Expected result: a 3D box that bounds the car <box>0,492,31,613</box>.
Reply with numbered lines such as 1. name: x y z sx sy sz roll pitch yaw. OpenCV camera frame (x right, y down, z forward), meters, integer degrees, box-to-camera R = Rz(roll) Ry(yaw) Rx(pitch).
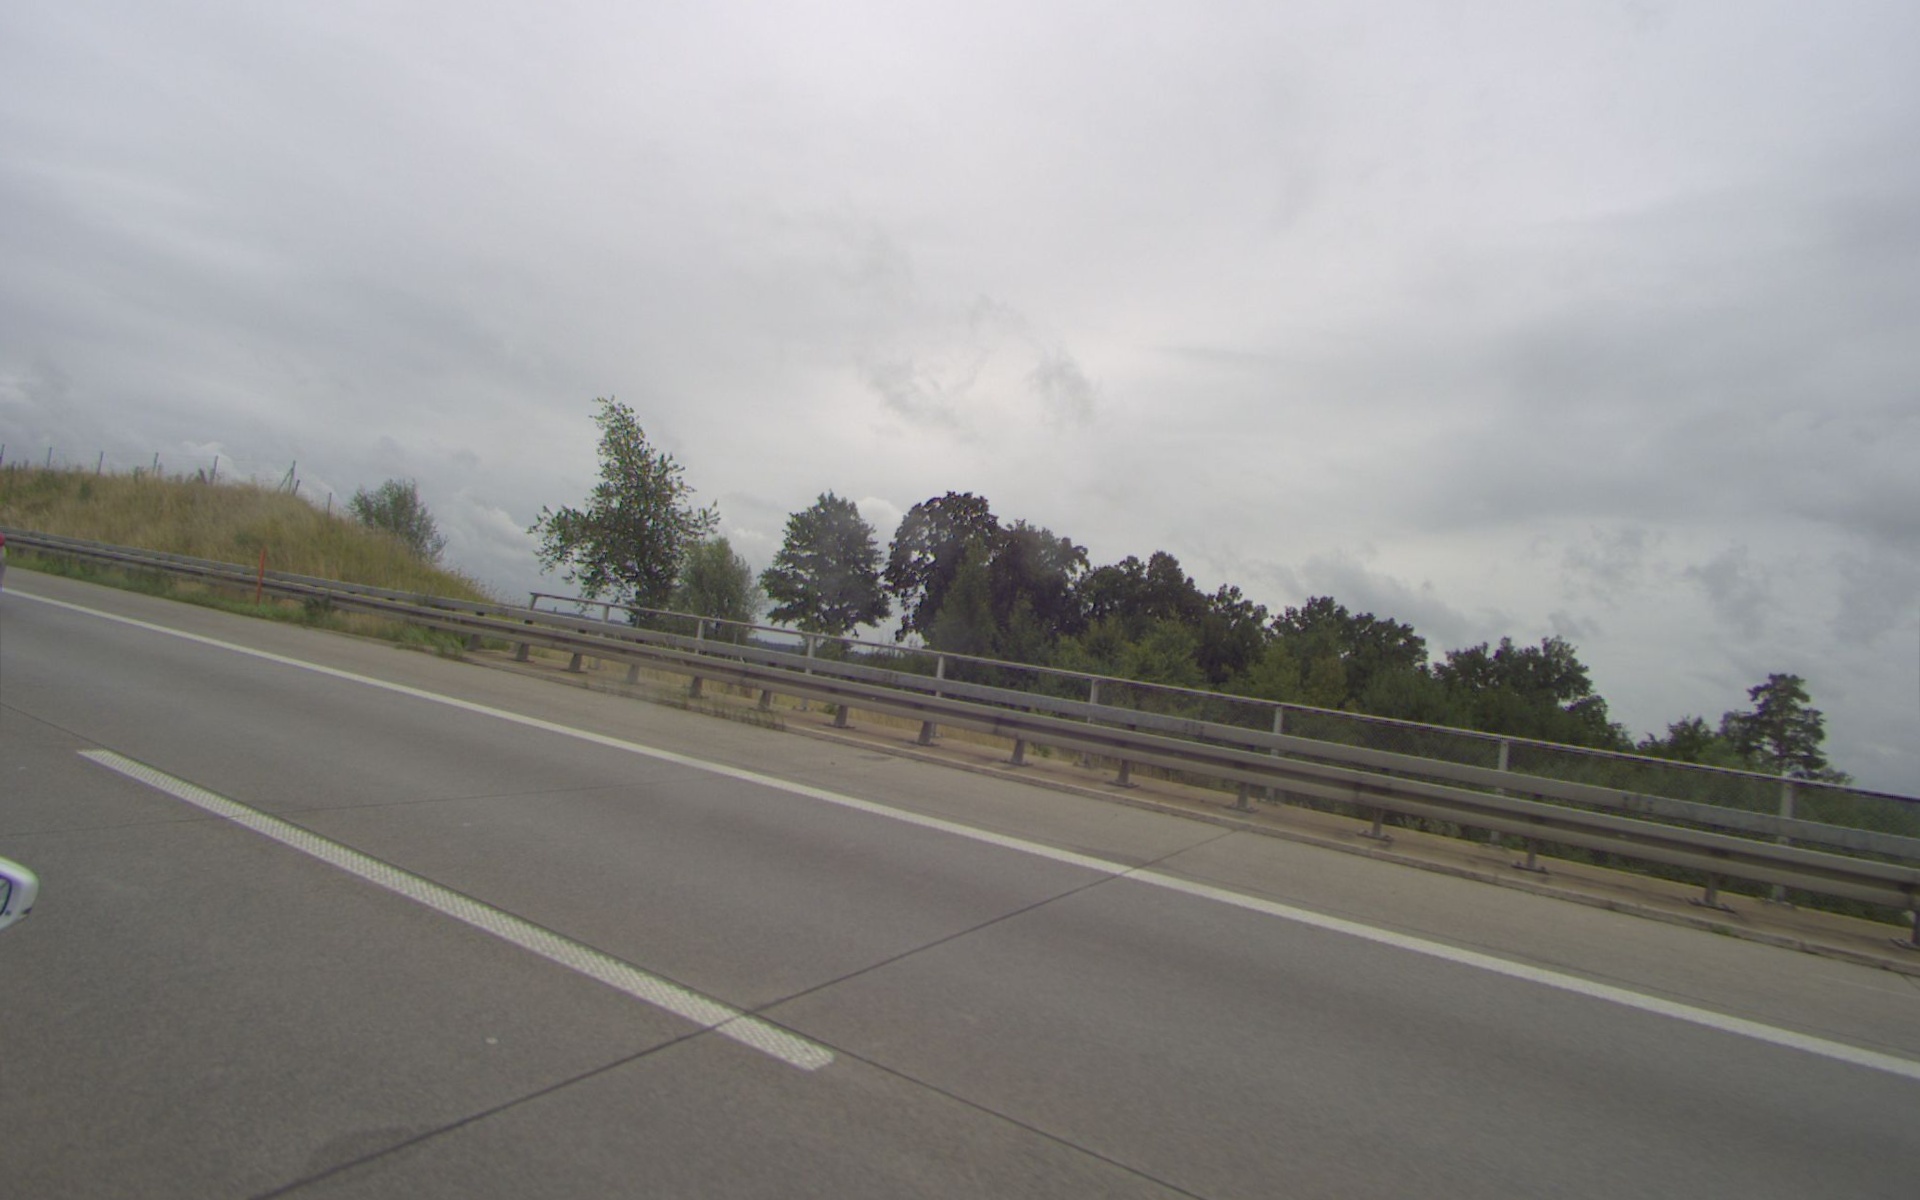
1. car: -15.394 -0.937 14.319 4.493 1.623 1.789 6 -2 30
